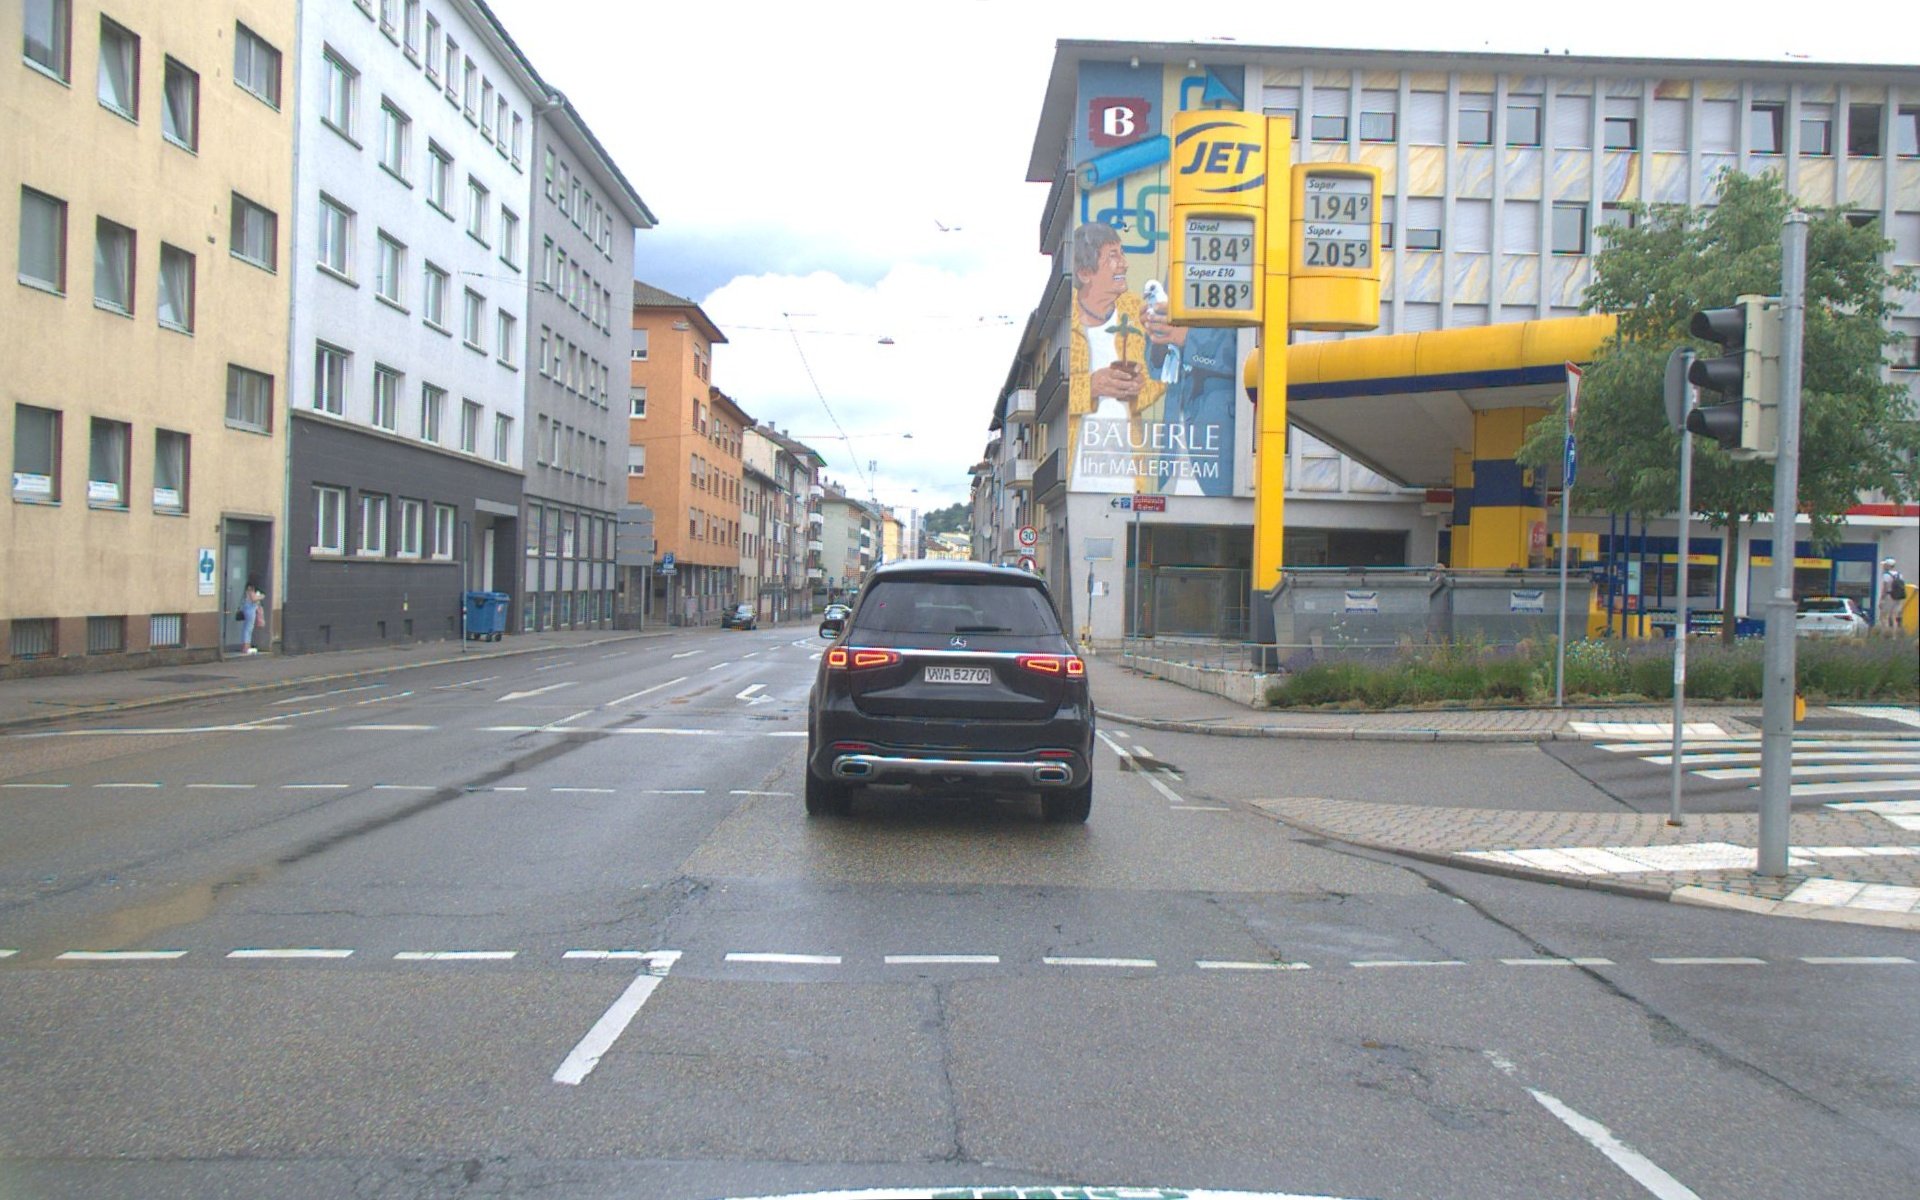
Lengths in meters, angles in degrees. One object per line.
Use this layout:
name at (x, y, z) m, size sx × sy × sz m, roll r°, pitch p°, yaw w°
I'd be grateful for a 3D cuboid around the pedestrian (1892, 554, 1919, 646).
pedestrian at (16.901, 0.025, 28.584) m, size 0.910 × 1.550 × 1.097 m, roll 4°, pitch 0°, yaw -42°

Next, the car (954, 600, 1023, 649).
car at (0.897, 0.752, 54.116) m, size 1.856 × 1.427 × 4.605 m, roll -3°, pitch 0°, yaw -3°

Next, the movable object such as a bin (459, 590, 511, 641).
movable object such as a bin at (-13.259, 0.440, 46.209) m, size 1.054 × 1.347 × 1.190 m, roll 3°, pitch 0°, yaw -1°

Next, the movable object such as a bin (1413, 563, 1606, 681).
movable object such as a bin at (7.660, 0.301, 23.205) m, size 2.111 × 1.582 × 1.773 m, roll 0°, pitch 0°, yaw -1°

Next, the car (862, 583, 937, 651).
car at (-1.757, 0.466, 49.078) m, size 2.034 × 1.796 × 4.610 m, roll 3°, pitch 0°, yaw -1°

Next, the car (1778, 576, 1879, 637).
car at (24.394, 0.208, 46.370) m, size 1.960 × 1.542 × 4.402 m, roll 0°, pitch -2°, yaw 35°

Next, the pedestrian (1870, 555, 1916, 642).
pedestrian at (19.821, -0.026, 35.147) m, size 0.664 × 1.788 × 0.731 m, roll 3°, pitch 0°, yaw 22°

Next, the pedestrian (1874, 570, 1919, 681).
pedestrian at (22.968, 0.623, 40.154) m, size 0.984 × 2.611 × 1.149 m, roll 3°, pitch 0°, yaw 13°

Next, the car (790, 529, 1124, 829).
car at (-0.067, 0.496, 12.834) m, size 2.034 × 1.796 × 4.610 m, roll 3°, pitch 0°, yaw -1°

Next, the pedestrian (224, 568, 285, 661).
pedestrian at (-13.502, 0.269, 31.677) m, size 0.702 × 1.719 × 0.811 m, roll 3°, pitch 0°, yaw 1°

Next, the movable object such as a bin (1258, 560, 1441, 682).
movable object such as a bin at (5.406, 0.285, 23.170) m, size 2.111 × 1.602 × 1.773 m, roll 1°, pitch 0°, yaw -1°

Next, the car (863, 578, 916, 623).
car at (-2.888, 0.005, 68.733) m, size 2.034 × 1.678 × 4.294 m, roll 3°, pitch 0°, yaw -1°

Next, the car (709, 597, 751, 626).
car at (-12.828, 0.645, 92.353) m, size 1.853 × 1.484 × 4.547 m, roll 3°, pitch 0°, yaw -3°
